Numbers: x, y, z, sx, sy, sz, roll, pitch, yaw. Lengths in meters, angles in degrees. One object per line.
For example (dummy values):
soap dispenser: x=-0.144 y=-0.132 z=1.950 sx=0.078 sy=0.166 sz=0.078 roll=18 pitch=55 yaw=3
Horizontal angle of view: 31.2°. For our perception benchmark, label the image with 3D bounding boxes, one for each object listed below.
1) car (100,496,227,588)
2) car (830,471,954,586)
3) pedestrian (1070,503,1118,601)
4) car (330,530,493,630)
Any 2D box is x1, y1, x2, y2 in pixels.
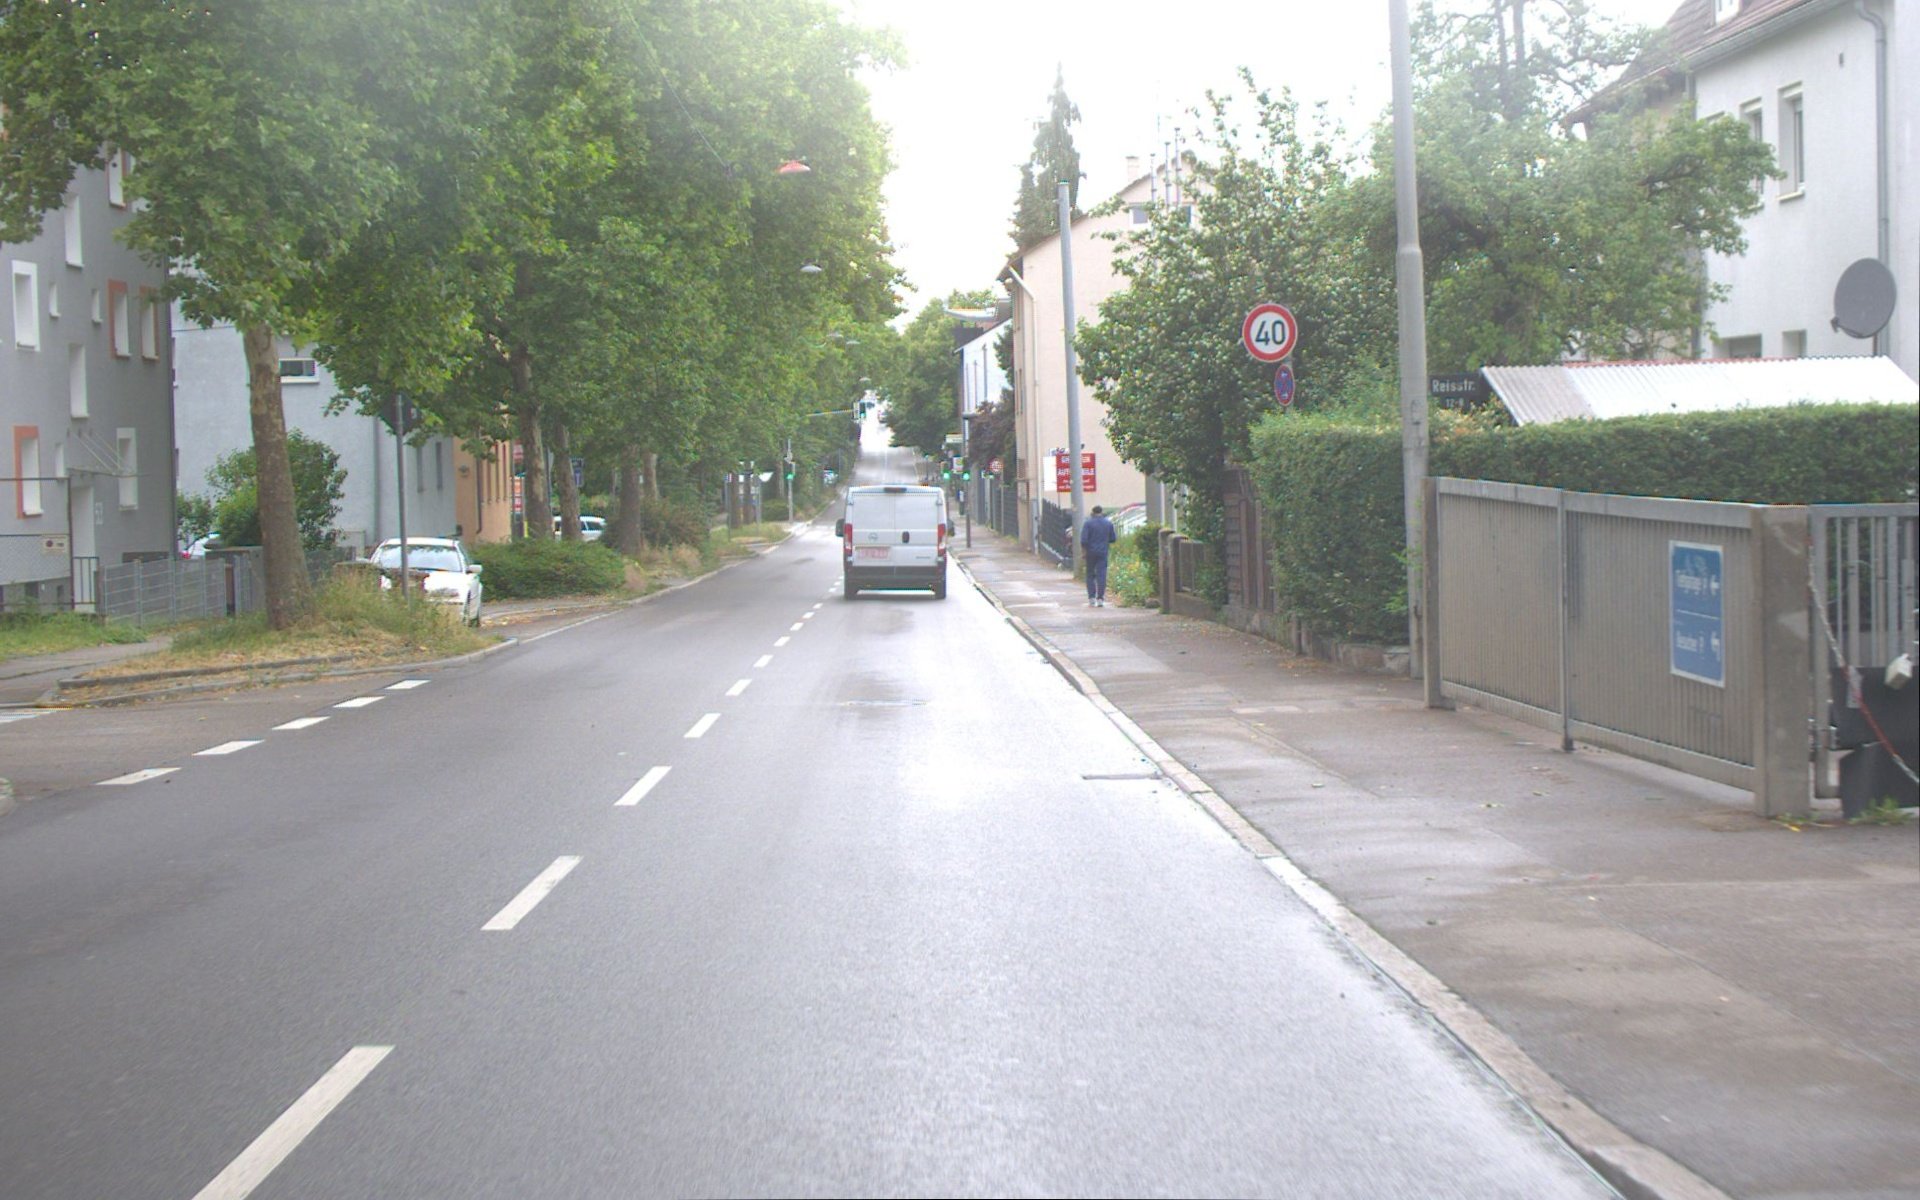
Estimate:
car: x=-17.298 y=-1.292 z=74.838 sx=1.875 sy=1.888 sz=4.001 roll=-1 pitch=2 yaw=-1
car: x=-1.409 y=-1.473 z=69.273 sx=2.346 sy=2.152 sz=4.778 roll=-1 pitch=3 yaw=-2
pedestrian: x=2.324 y=-0.842 z=59.840 sx=0.816 sy=1.692 sz=0.729 roll=0 pitch=1 yaw=2
car: x=-8.363 y=-0.336 z=52.712 sx=1.993 sy=1.447 sz=4.211 roll=-1 pitch=1 yaw=-3
